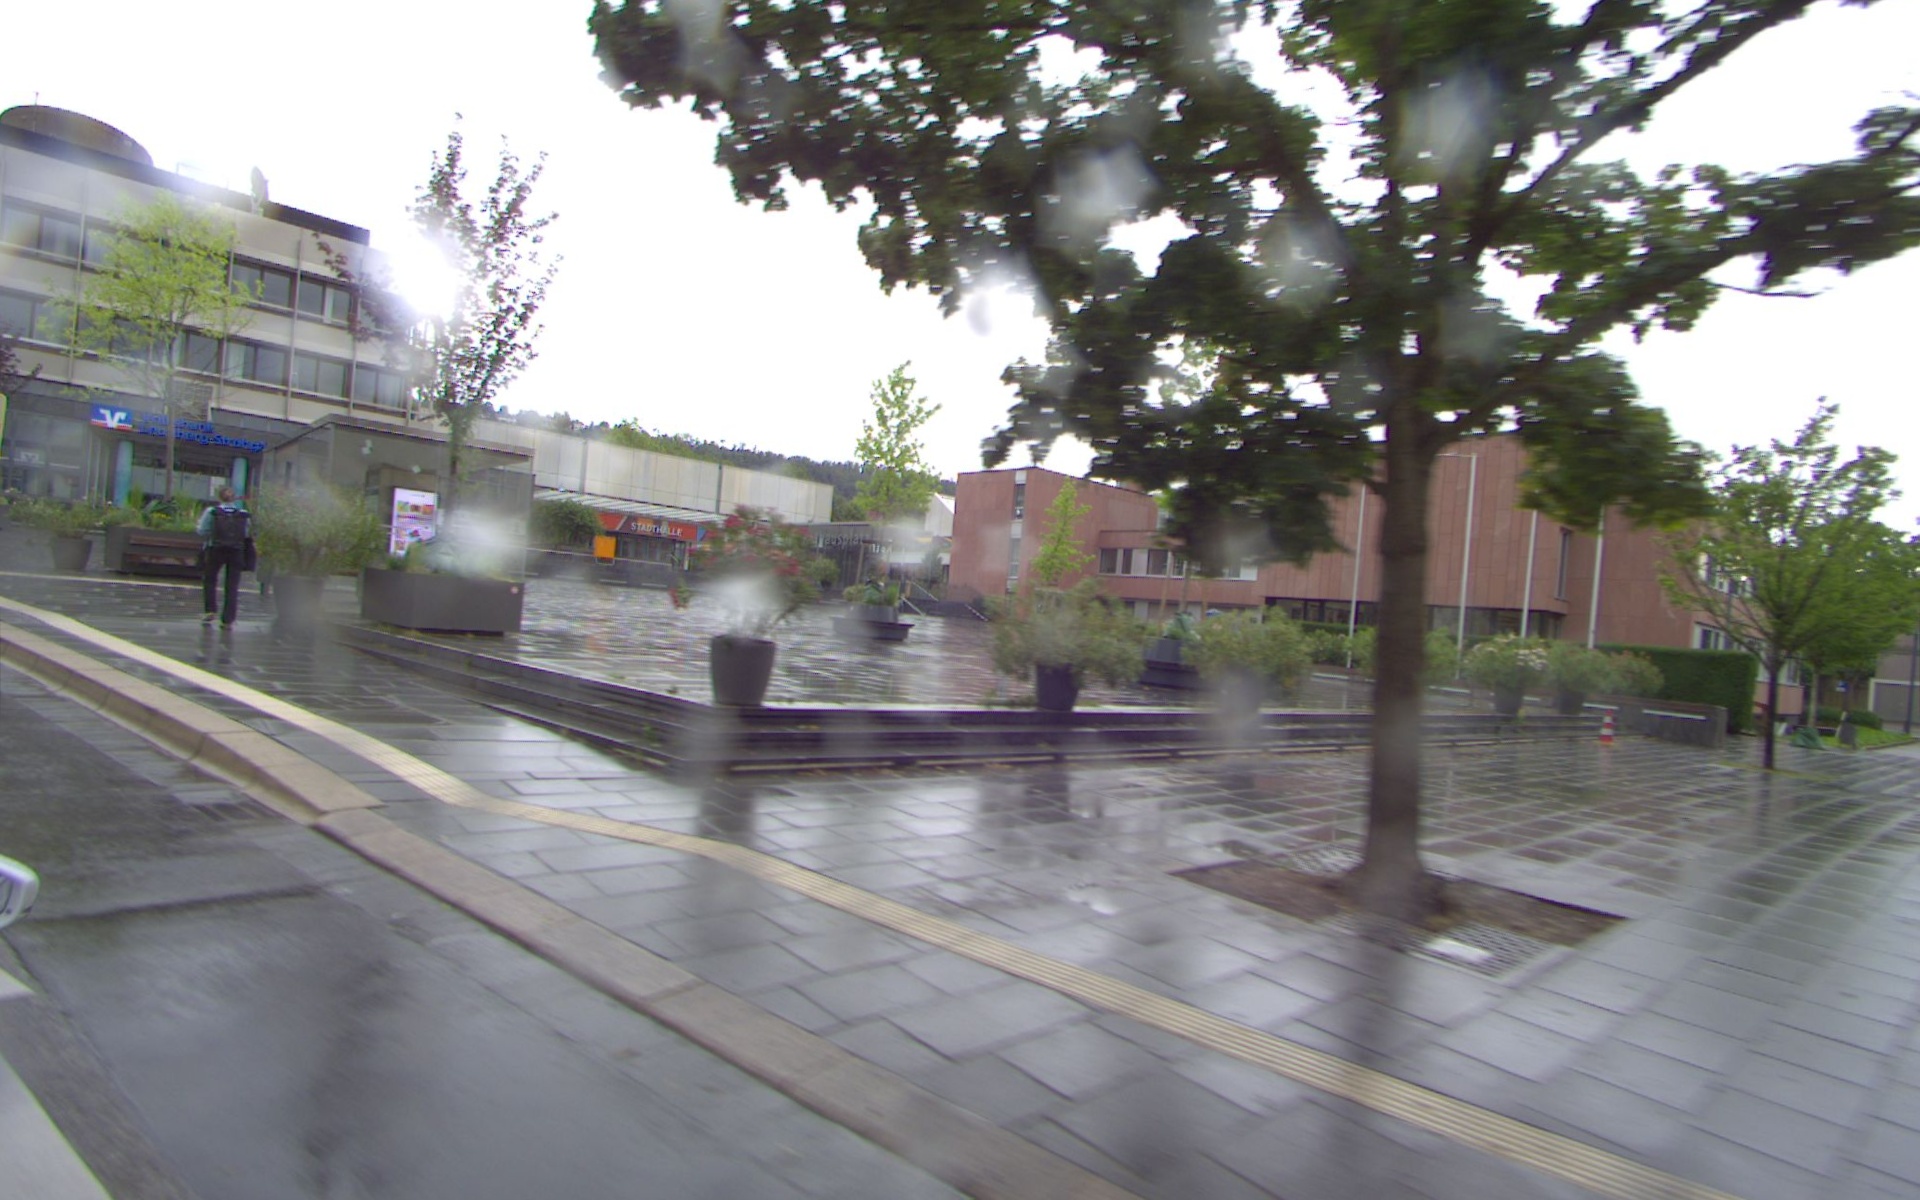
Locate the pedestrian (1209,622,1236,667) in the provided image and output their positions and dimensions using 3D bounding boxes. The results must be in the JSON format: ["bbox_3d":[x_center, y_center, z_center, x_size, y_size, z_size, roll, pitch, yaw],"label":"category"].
[{"bbox_3d":[12.376,2.085,47.389,0.847,2.039,0.731,5,1,-7],"label":"pedestrian"}]

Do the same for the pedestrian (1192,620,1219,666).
[{"bbox_3d":[11.496,2.007,47.110,0.847,2.039,0.731,5,1,-7],"label":"pedestrian"}]

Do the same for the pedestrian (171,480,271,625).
[{"bbox_3d":[-8.838,-0.562,12.032,0.683,1.638,0.727,6,1,39],"label":"pedestrian"}]
